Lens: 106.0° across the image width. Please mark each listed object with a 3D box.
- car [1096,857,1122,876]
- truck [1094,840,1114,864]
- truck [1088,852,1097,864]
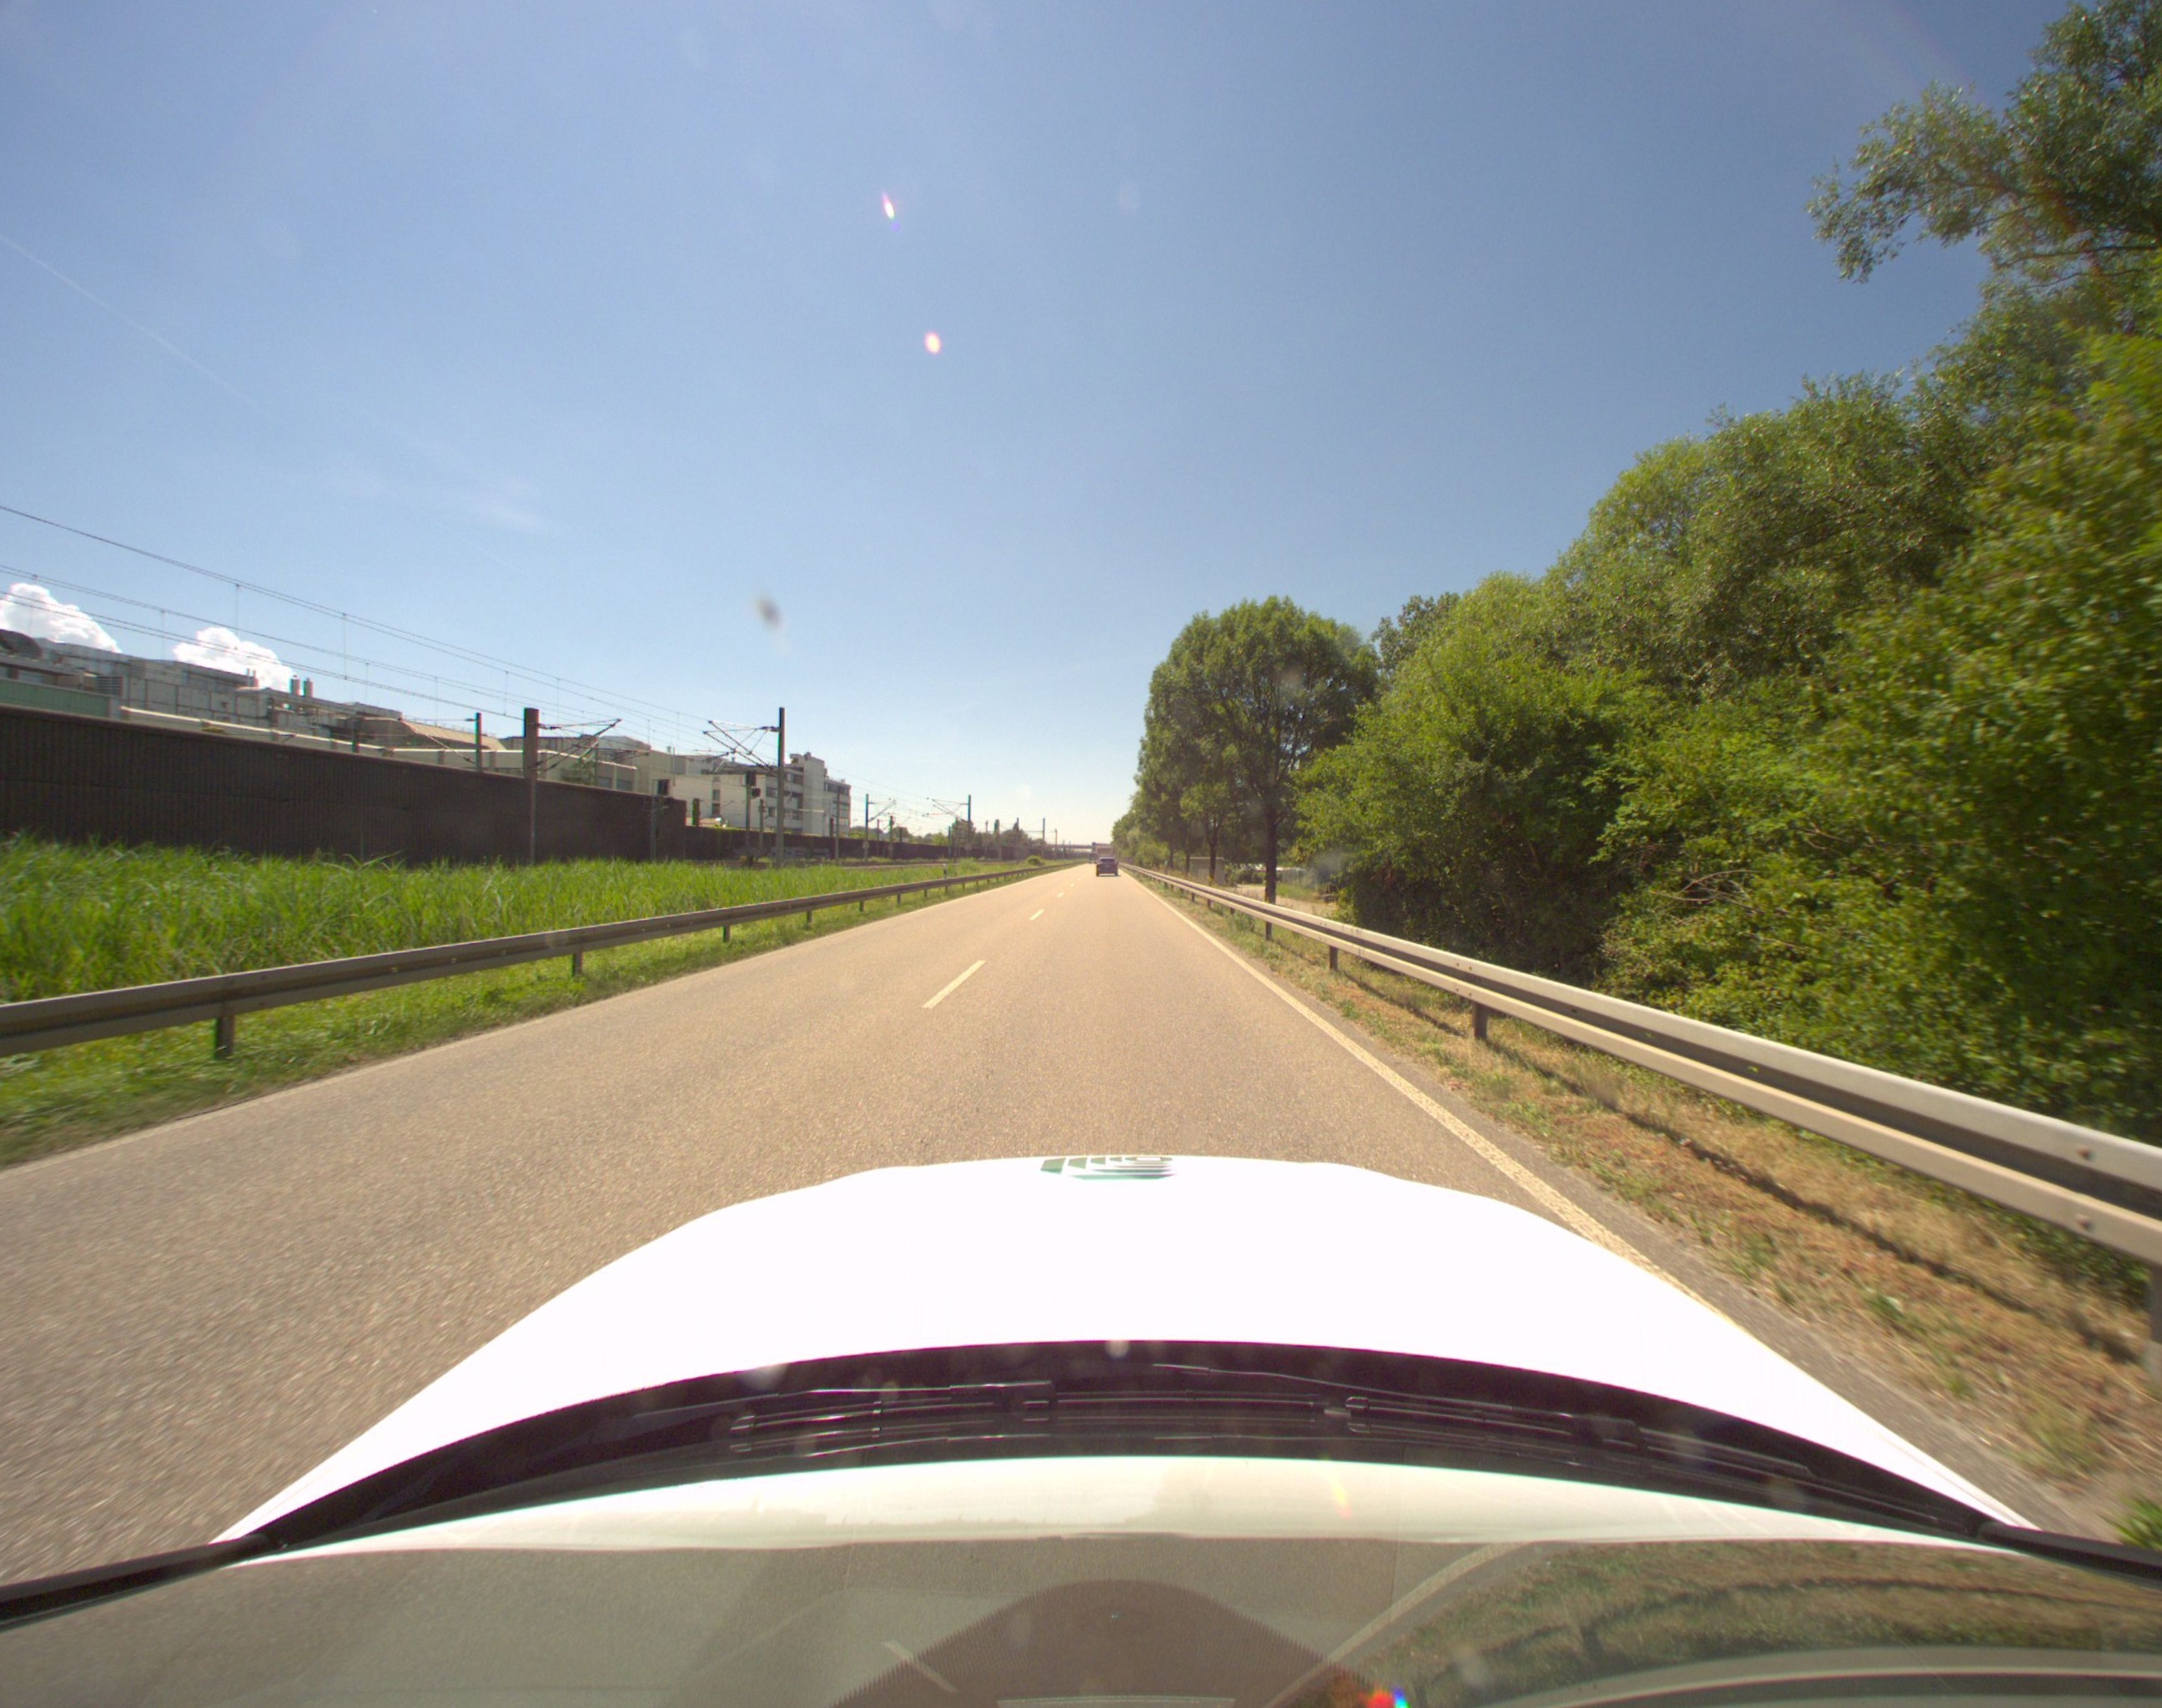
[{"bbox_3d":[2.258,1.008,67.777,1.987,1.508,3.999,-1,0,-1],"label":"car"},{"bbox_3d":[3.382,-0.232,119.347,2.760,3.425,10.823,0,0,2],"label":"truck"},{"bbox_3d":[3.459,1.350,251.618,2.649,3.627,10.978,0,0,1],"label":"truck"}]
